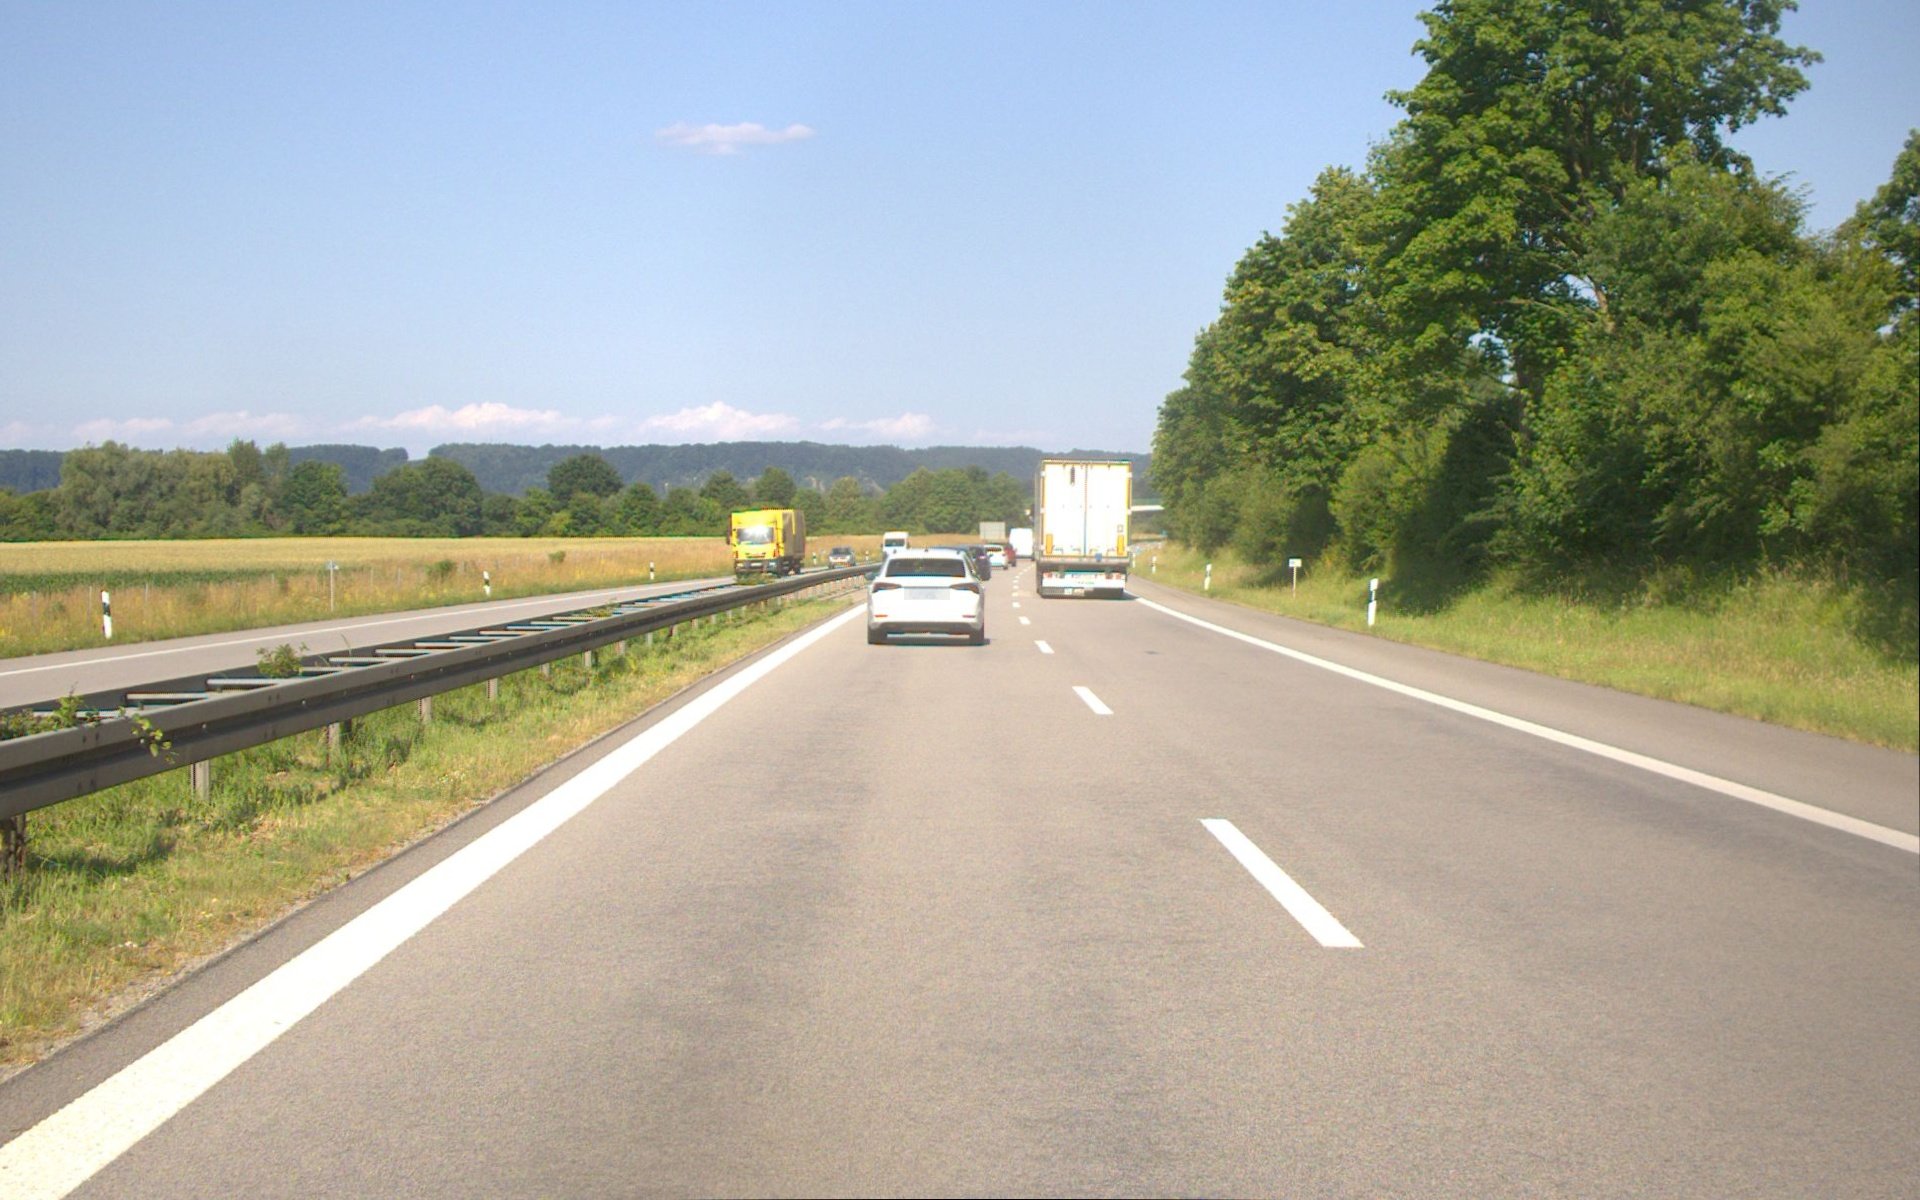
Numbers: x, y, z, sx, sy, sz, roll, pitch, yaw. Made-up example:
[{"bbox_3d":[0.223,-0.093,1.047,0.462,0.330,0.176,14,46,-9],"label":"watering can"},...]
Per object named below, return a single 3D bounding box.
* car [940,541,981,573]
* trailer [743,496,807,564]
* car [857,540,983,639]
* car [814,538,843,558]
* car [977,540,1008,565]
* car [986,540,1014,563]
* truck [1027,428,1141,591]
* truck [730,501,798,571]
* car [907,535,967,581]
[{"bbox_3d":[0.039,-1.961,155.238,1.771,1.416,4.365,1,1,0],"label":"car"},{"bbox_3d":[-9.896,-3.750,184.497,2.735,3.448,9.233,-2,1,1],"label":"trailer"},{"bbox_3d":[-0.620,-0.202,53.541,1.840,1.416,5.255,1,1,-1],"label":"car"},{"bbox_3d":[-9.088,-3.593,237.898,1.835,1.371,4.000,0,1,1],"label":"car"},{"bbox_3d":[1.885,-2.748,198.494,1.771,1.416,4.365,1,1,0],"label":"car"},{"bbox_3d":[2.551,-3.130,219.804,1.771,1.416,4.365,1,1,0],"label":"car"},{"bbox_3d":[3.603,-2.655,101.843,3.152,4.596,8.905,0,1,1],"label":"truck"},{"bbox_3d":[-9.943,-3.254,175.249,2.735,3.371,9.233,-3,1,1],"label":"truck"},{"bbox_3d":[-0.709,-1.341,109.022,1.771,1.416,4.495,1,1,1],"label":"car"}]
